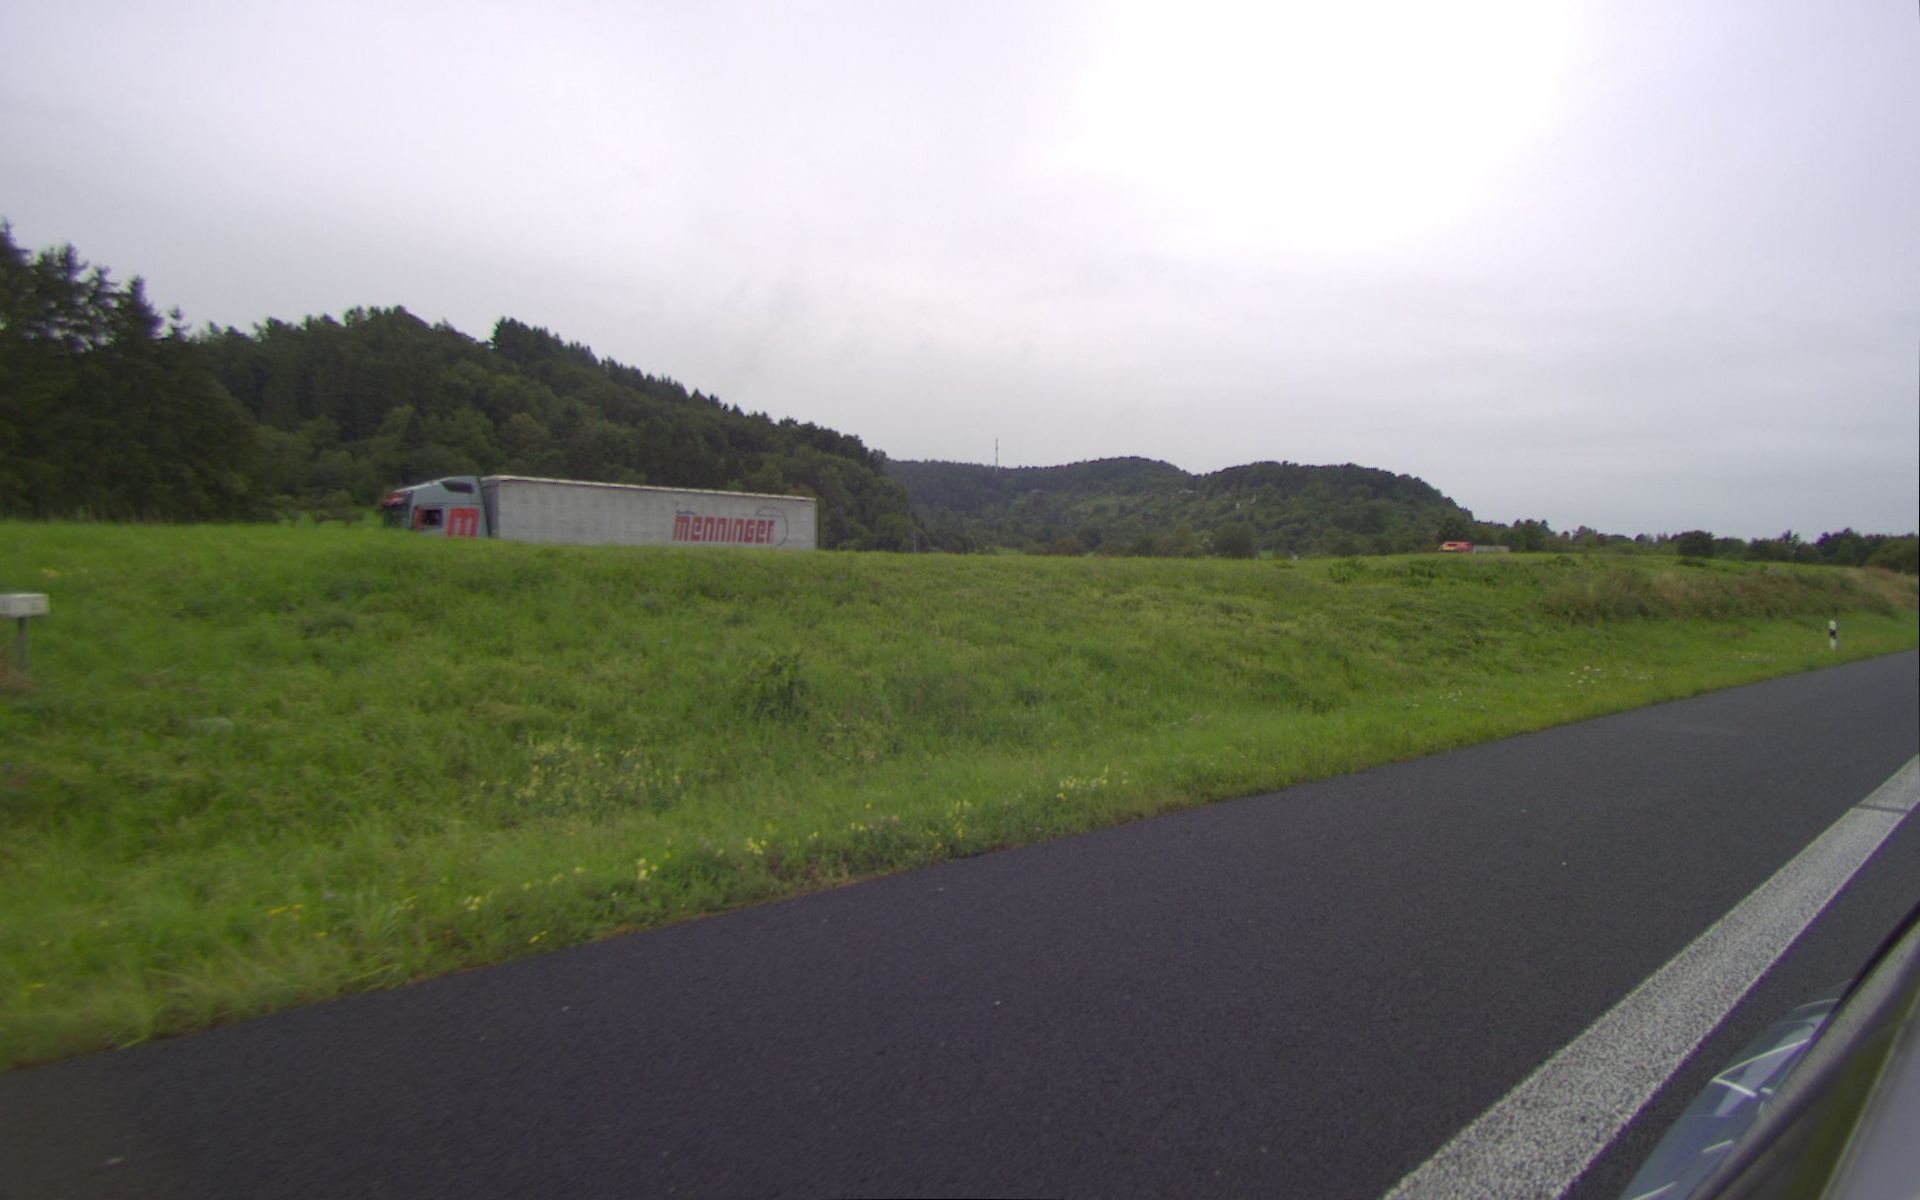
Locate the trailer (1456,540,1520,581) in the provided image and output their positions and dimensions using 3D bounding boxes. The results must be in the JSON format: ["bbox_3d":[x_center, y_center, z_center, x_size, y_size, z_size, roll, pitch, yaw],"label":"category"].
[{"bbox_3d":[56.151,-4.120,107.449,12.203,4.034,2.492,0,0,-45],"label":"trailer"}]

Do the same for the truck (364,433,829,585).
[{"bbox_3d":[-12.659,-2.884,38.219,3.821,4.597,16.619,1,1,43],"label":"truck"}]

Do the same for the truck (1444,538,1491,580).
[{"bbox_3d":[51.746,-4.102,103.101,5.831,4.037,2.509,0,0,-45],"label":"truck"}]
